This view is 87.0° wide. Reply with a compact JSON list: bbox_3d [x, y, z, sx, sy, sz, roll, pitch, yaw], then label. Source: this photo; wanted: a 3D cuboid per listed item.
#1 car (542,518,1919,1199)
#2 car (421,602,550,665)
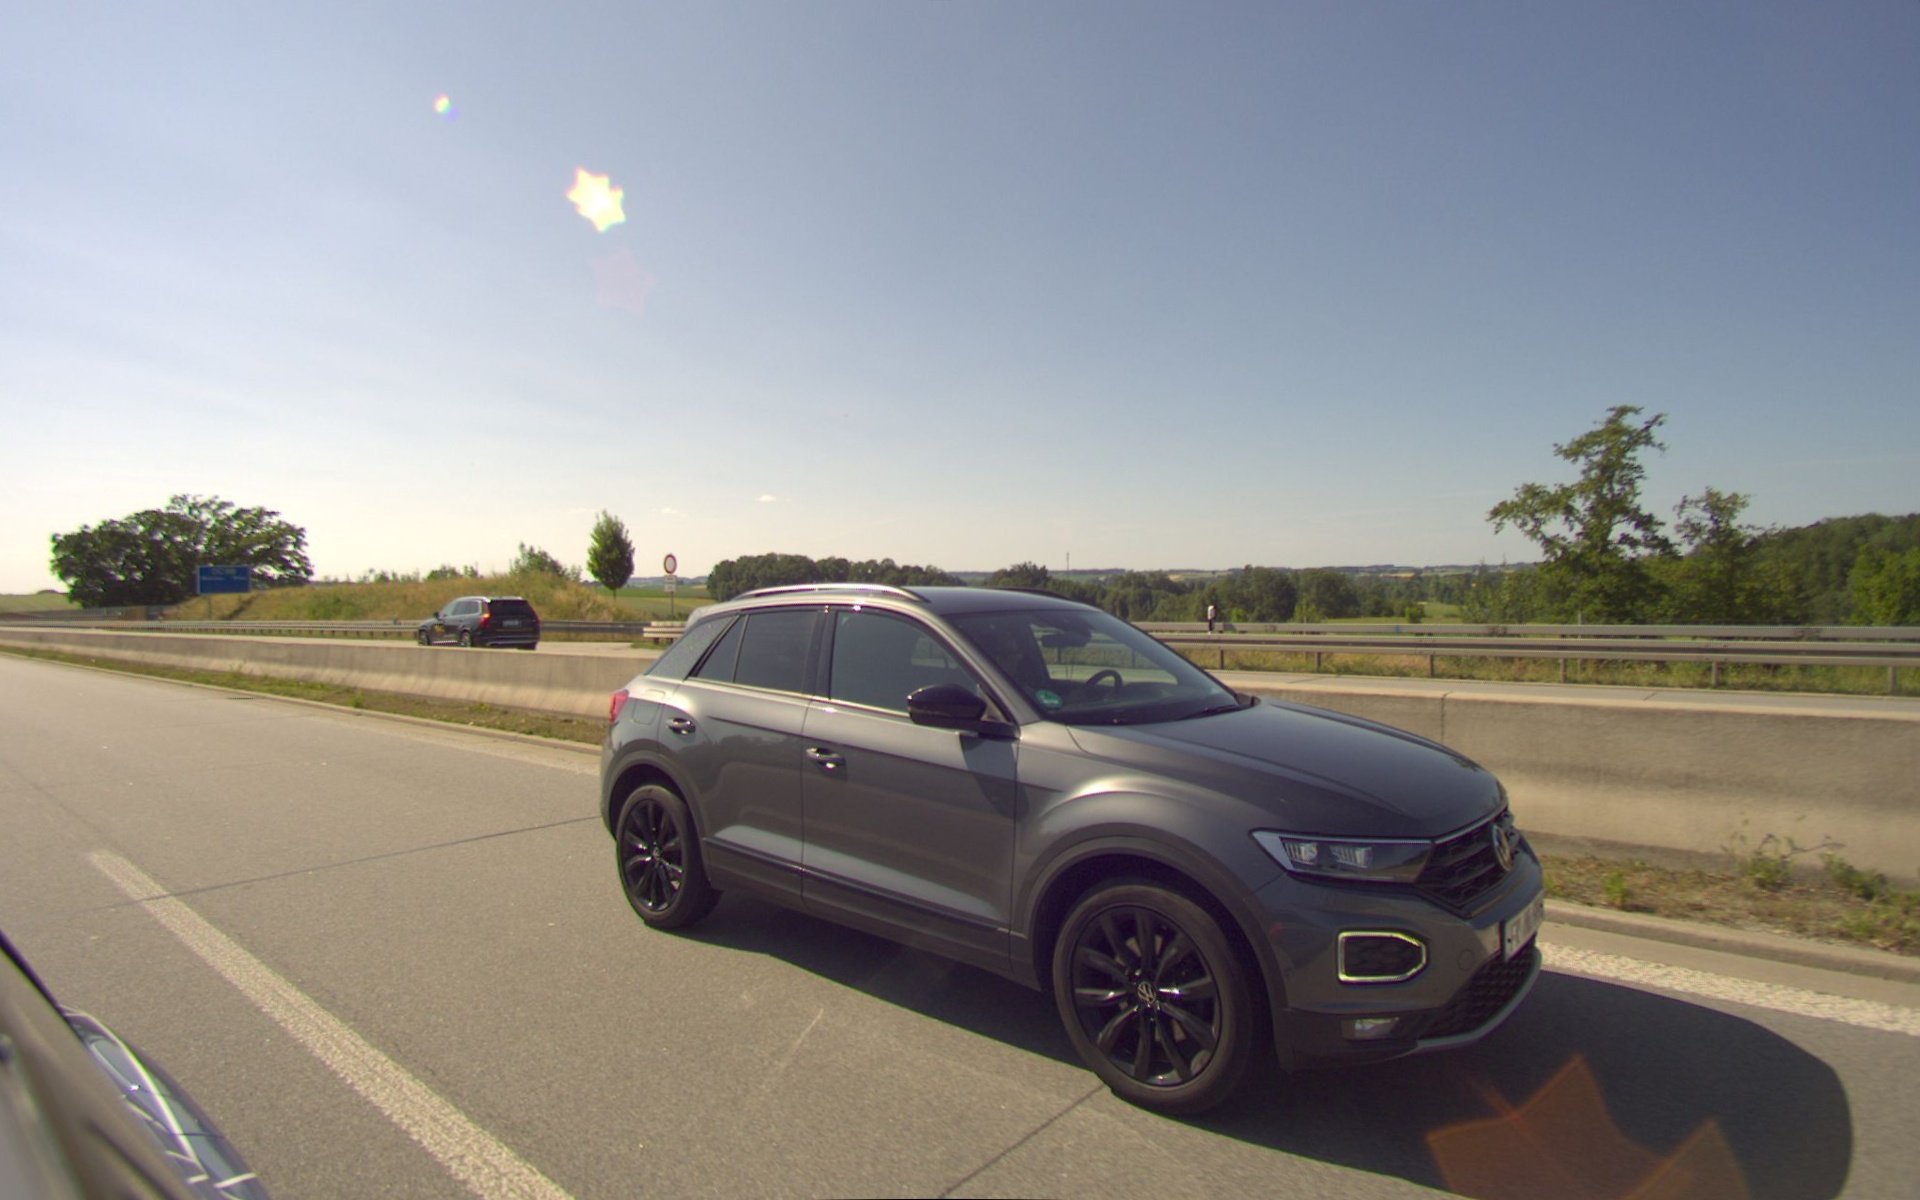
[{"bbox_3d":[0.374,0.681,4.095,4.985,1.581,1.754,-1,0,41],"label":"car"},{"bbox_3d":[-14.032,0.948,29.844,4.267,1.704,1.881,-1,0,41],"label":"car"}]
